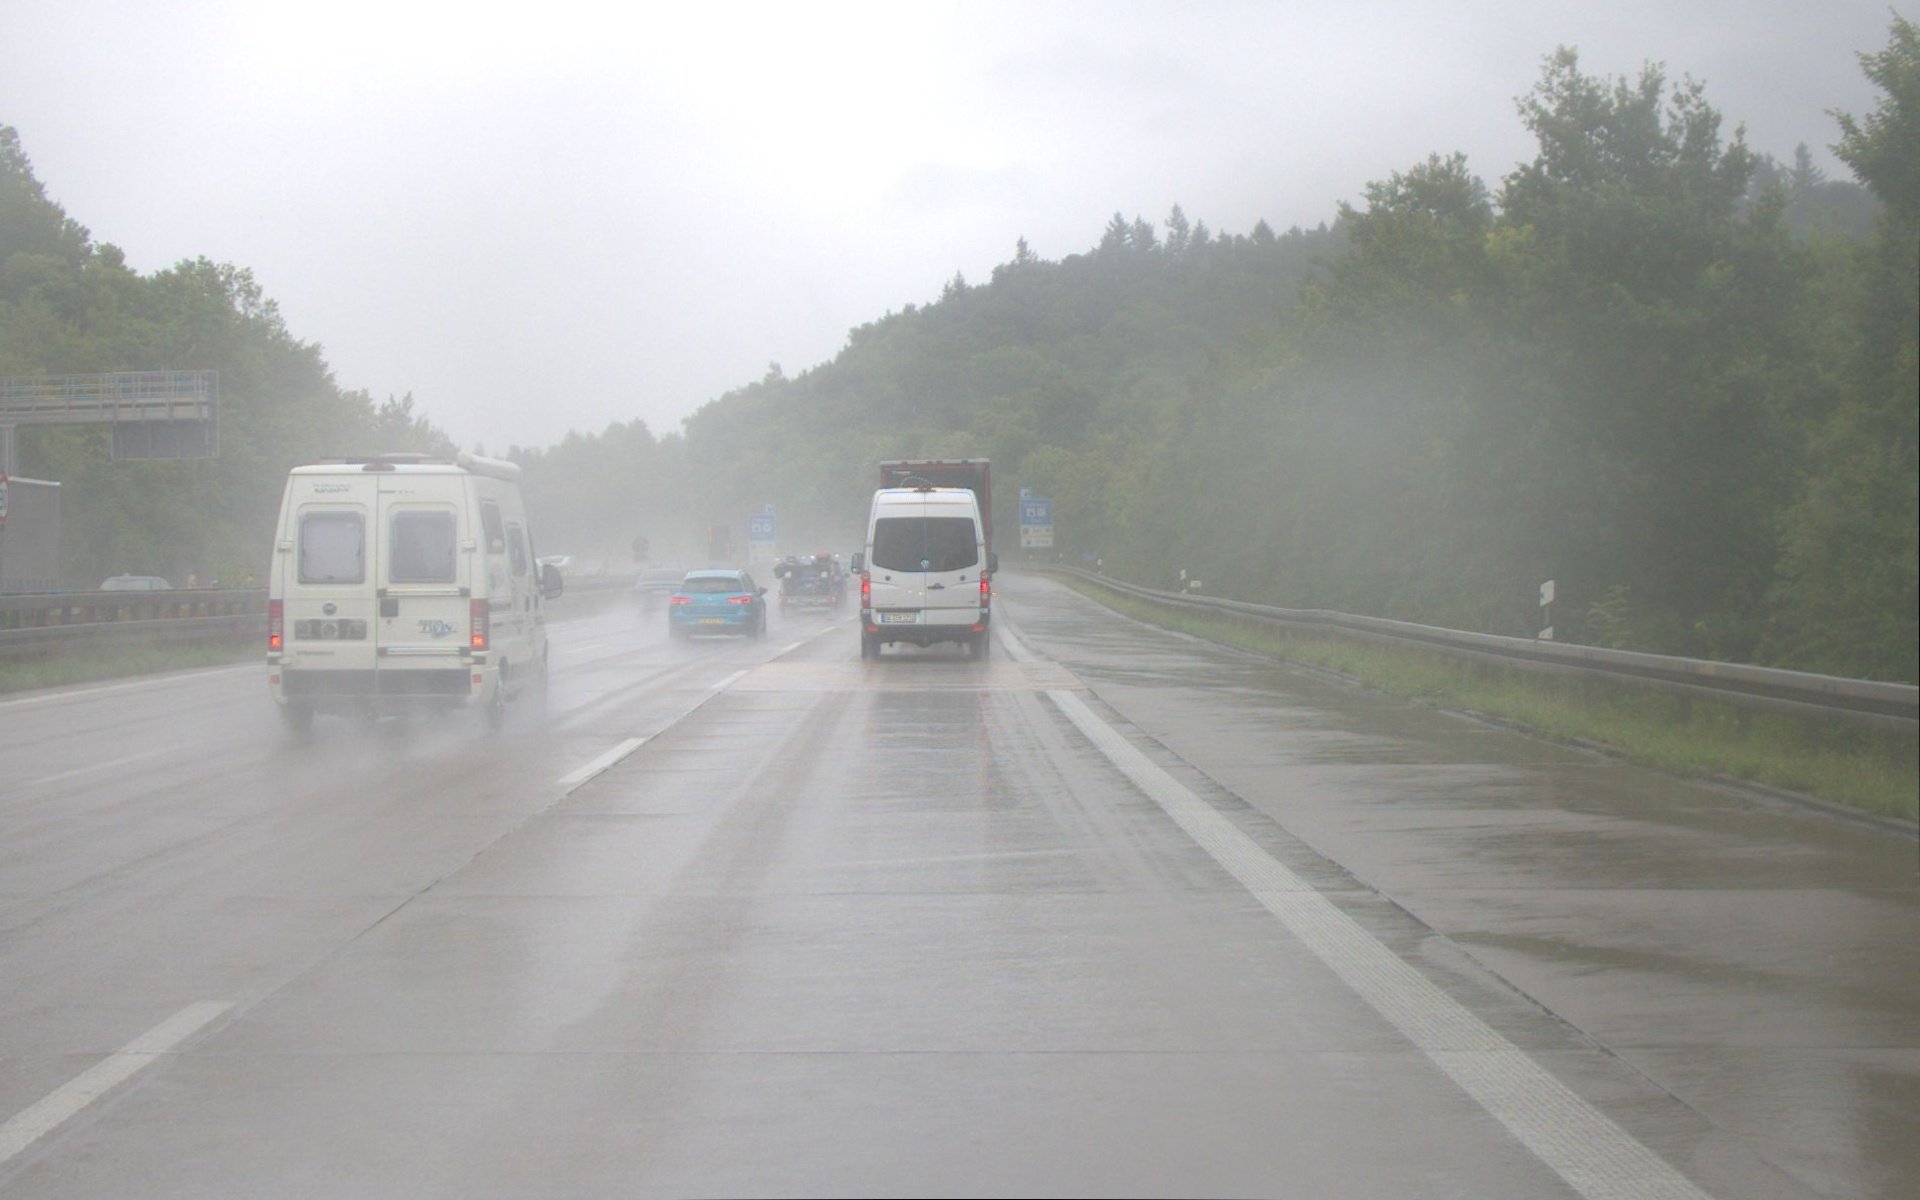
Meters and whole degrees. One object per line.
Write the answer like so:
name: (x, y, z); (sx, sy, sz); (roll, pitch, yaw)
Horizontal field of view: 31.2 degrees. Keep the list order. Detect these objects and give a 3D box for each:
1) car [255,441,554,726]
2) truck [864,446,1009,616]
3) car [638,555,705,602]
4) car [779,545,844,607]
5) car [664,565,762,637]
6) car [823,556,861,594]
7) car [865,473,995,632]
car: (-5.150, -0.183, 32.649); (1.997, 2.423, 5.791); (1, 1, -2)
truck: (-0.613, -1.812, 84.727); (3.385, 3.954, 8.668); (0, 3, -1)
car: (-8.588, -0.653, 102.556); (1.856, 1.334, 4.352); (1, 1, -3)
car: (-4.527, -0.755, 105.093); (1.868, 1.804, 4.189); (1, 1, -2)
car: (-4.901, 0.000, 68.457); (1.856, 1.334, 4.352); (1, 1, -4)
car: (-5.205, -1.124, 152.261); (1.614, 1.622, 4.189); (1, 1, -2)
car: (-0.521, -0.748, 54.008); (1.899, 2.326, 5.251); (1, 1, -2)
